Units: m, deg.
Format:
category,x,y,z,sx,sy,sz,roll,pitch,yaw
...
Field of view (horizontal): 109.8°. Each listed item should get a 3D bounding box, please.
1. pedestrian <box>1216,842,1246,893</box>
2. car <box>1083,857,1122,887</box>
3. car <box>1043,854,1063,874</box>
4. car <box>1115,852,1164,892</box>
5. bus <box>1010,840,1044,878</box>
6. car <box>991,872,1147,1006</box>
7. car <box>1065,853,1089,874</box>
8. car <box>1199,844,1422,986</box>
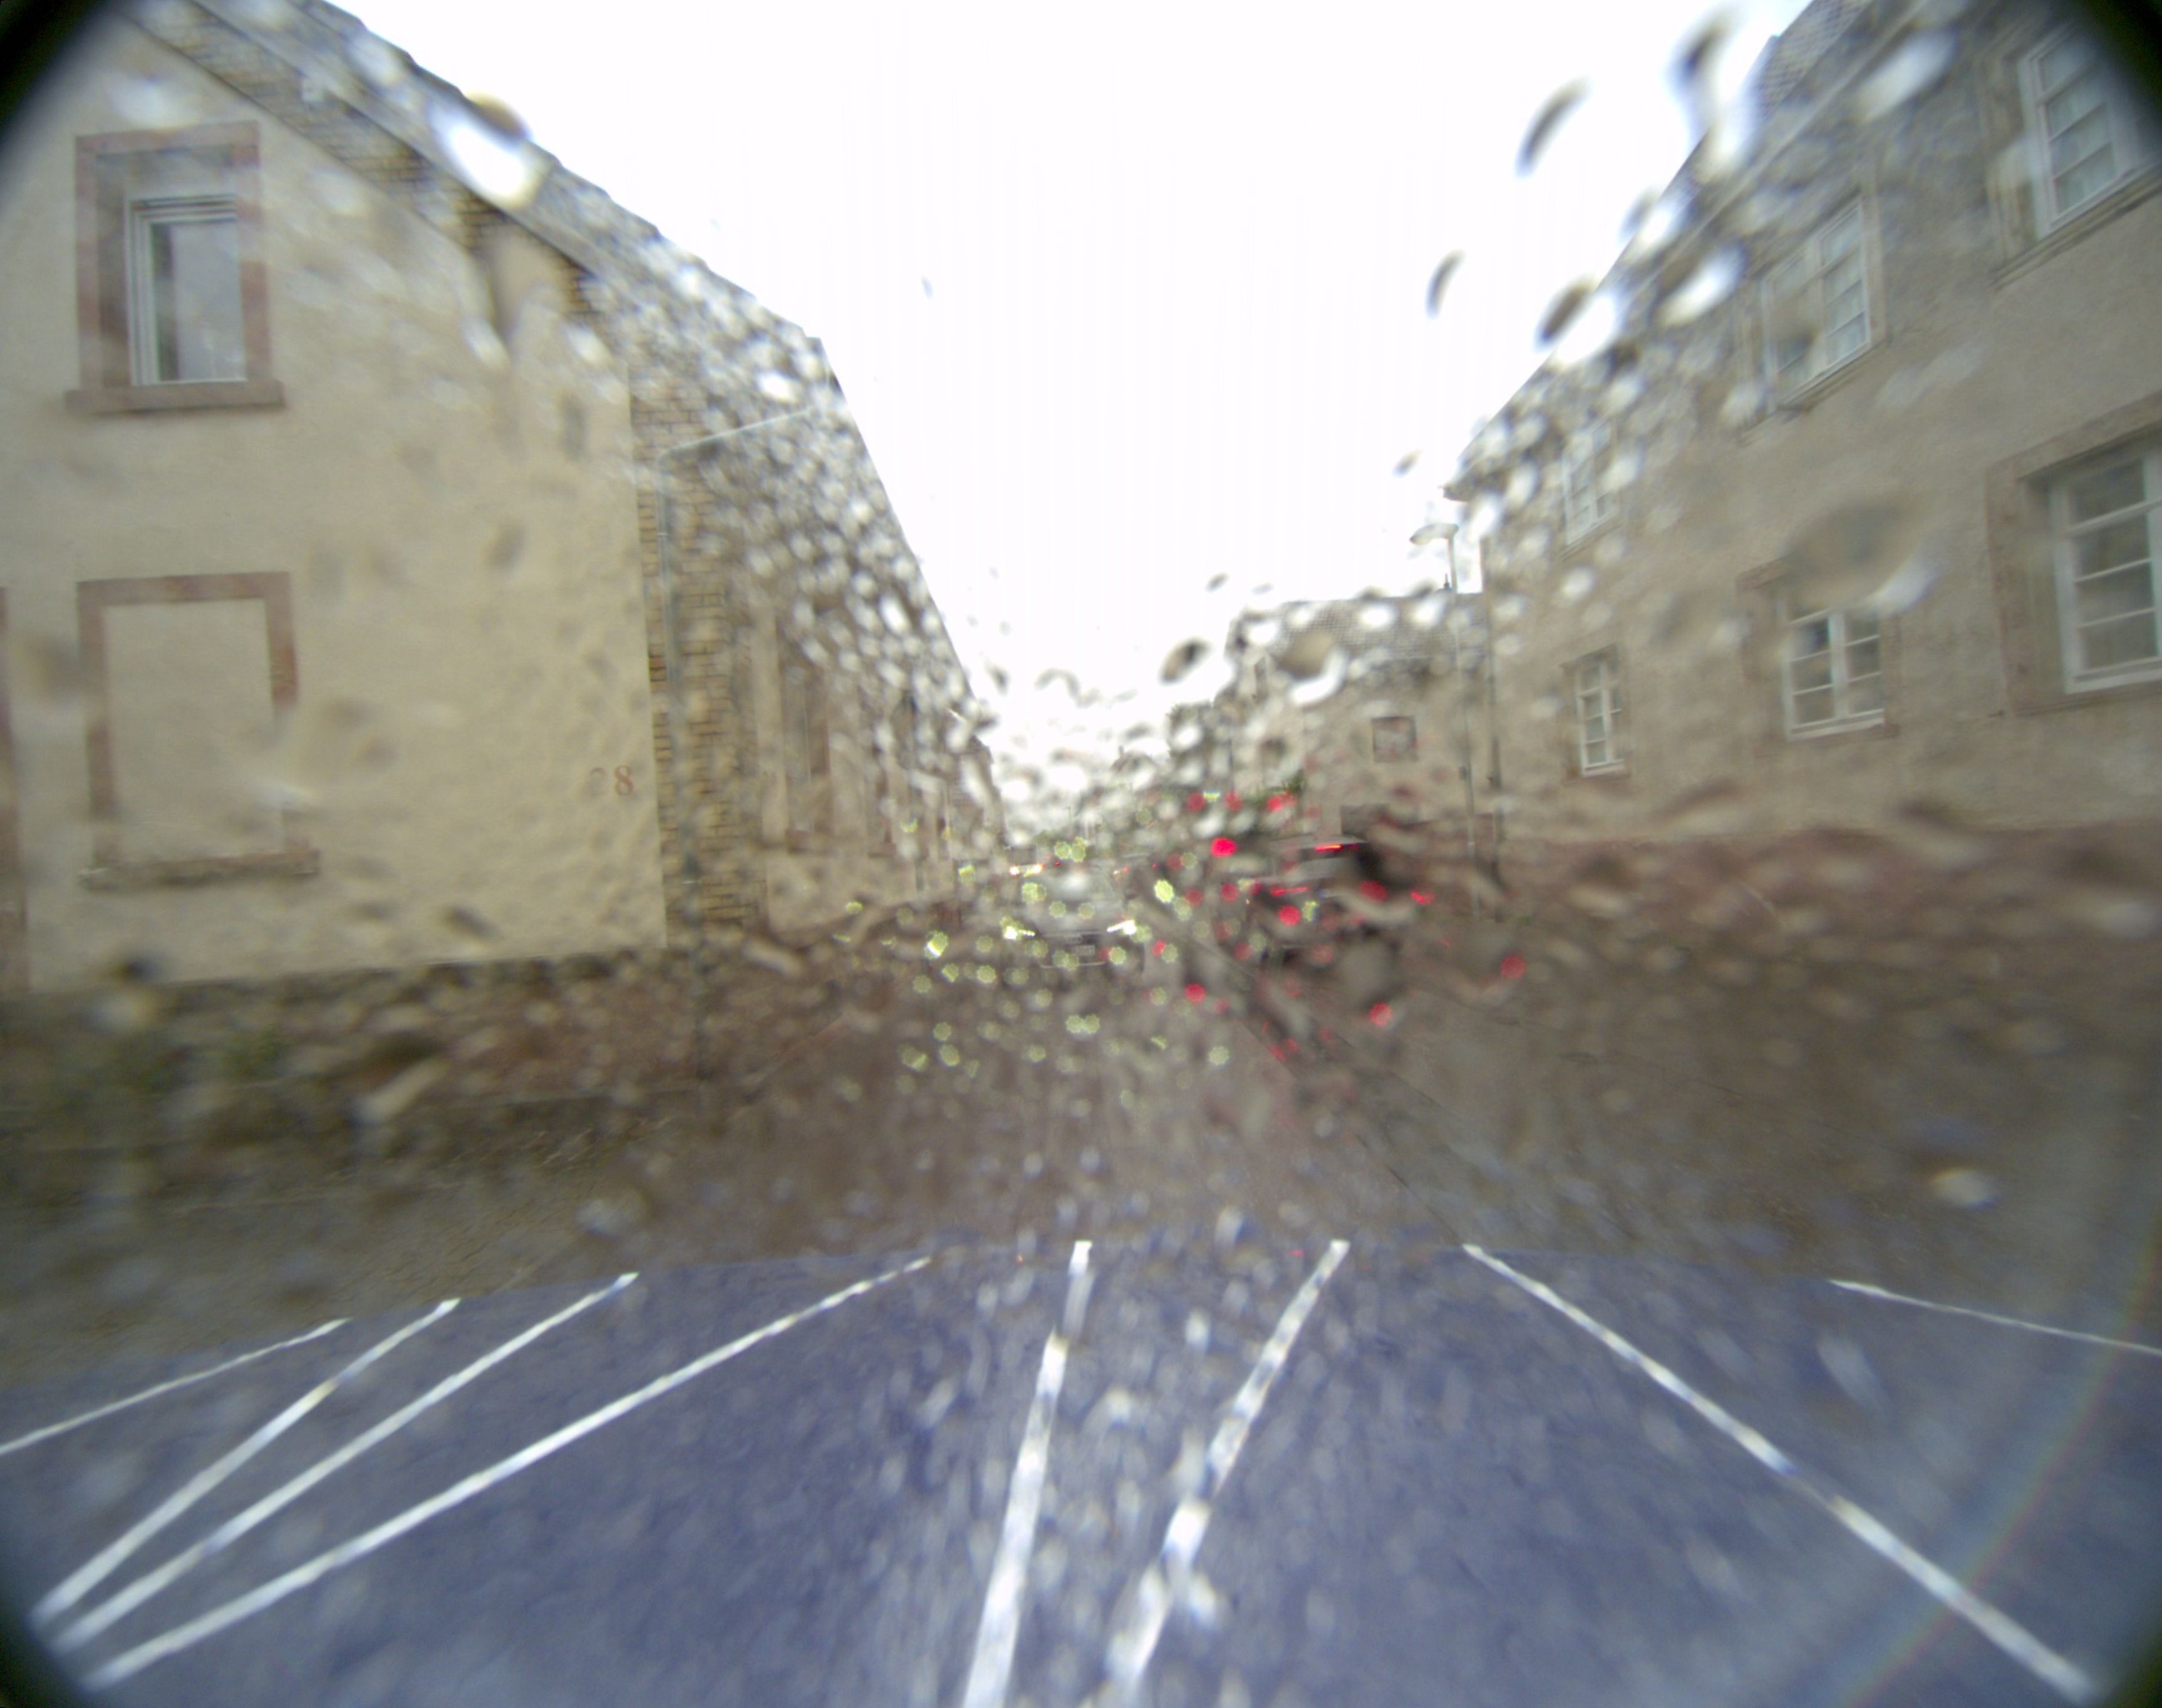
category,x,y,z,sx,sy,sz,roll,pitch,yaw
pedestrian,4.755,0.426,24.069,0.573,1.529,0.833,-6,1,-6
car,1.142,0.973,42.617,1.701,1.500,4.339,-3,0,-4
car,-2.703,0.949,72.807,1.785,1.655,4.424,-5,1,-2
car,2.431,0.706,32.223,1.608,1.504,3.687,-4,0,-2
bus,-5.321,0.388,72.870,2.669,3.213,12.185,-3,0,-6
car,-0.241,1.028,10.811,1.739,1.362,4.101,-3,0,-3
car,-0.359,0.728,60.536,1.626,1.502,3.792,-7,0,-2
car,3.001,0.701,10.954,1.837,1.546,4.239,-3,0,-1
